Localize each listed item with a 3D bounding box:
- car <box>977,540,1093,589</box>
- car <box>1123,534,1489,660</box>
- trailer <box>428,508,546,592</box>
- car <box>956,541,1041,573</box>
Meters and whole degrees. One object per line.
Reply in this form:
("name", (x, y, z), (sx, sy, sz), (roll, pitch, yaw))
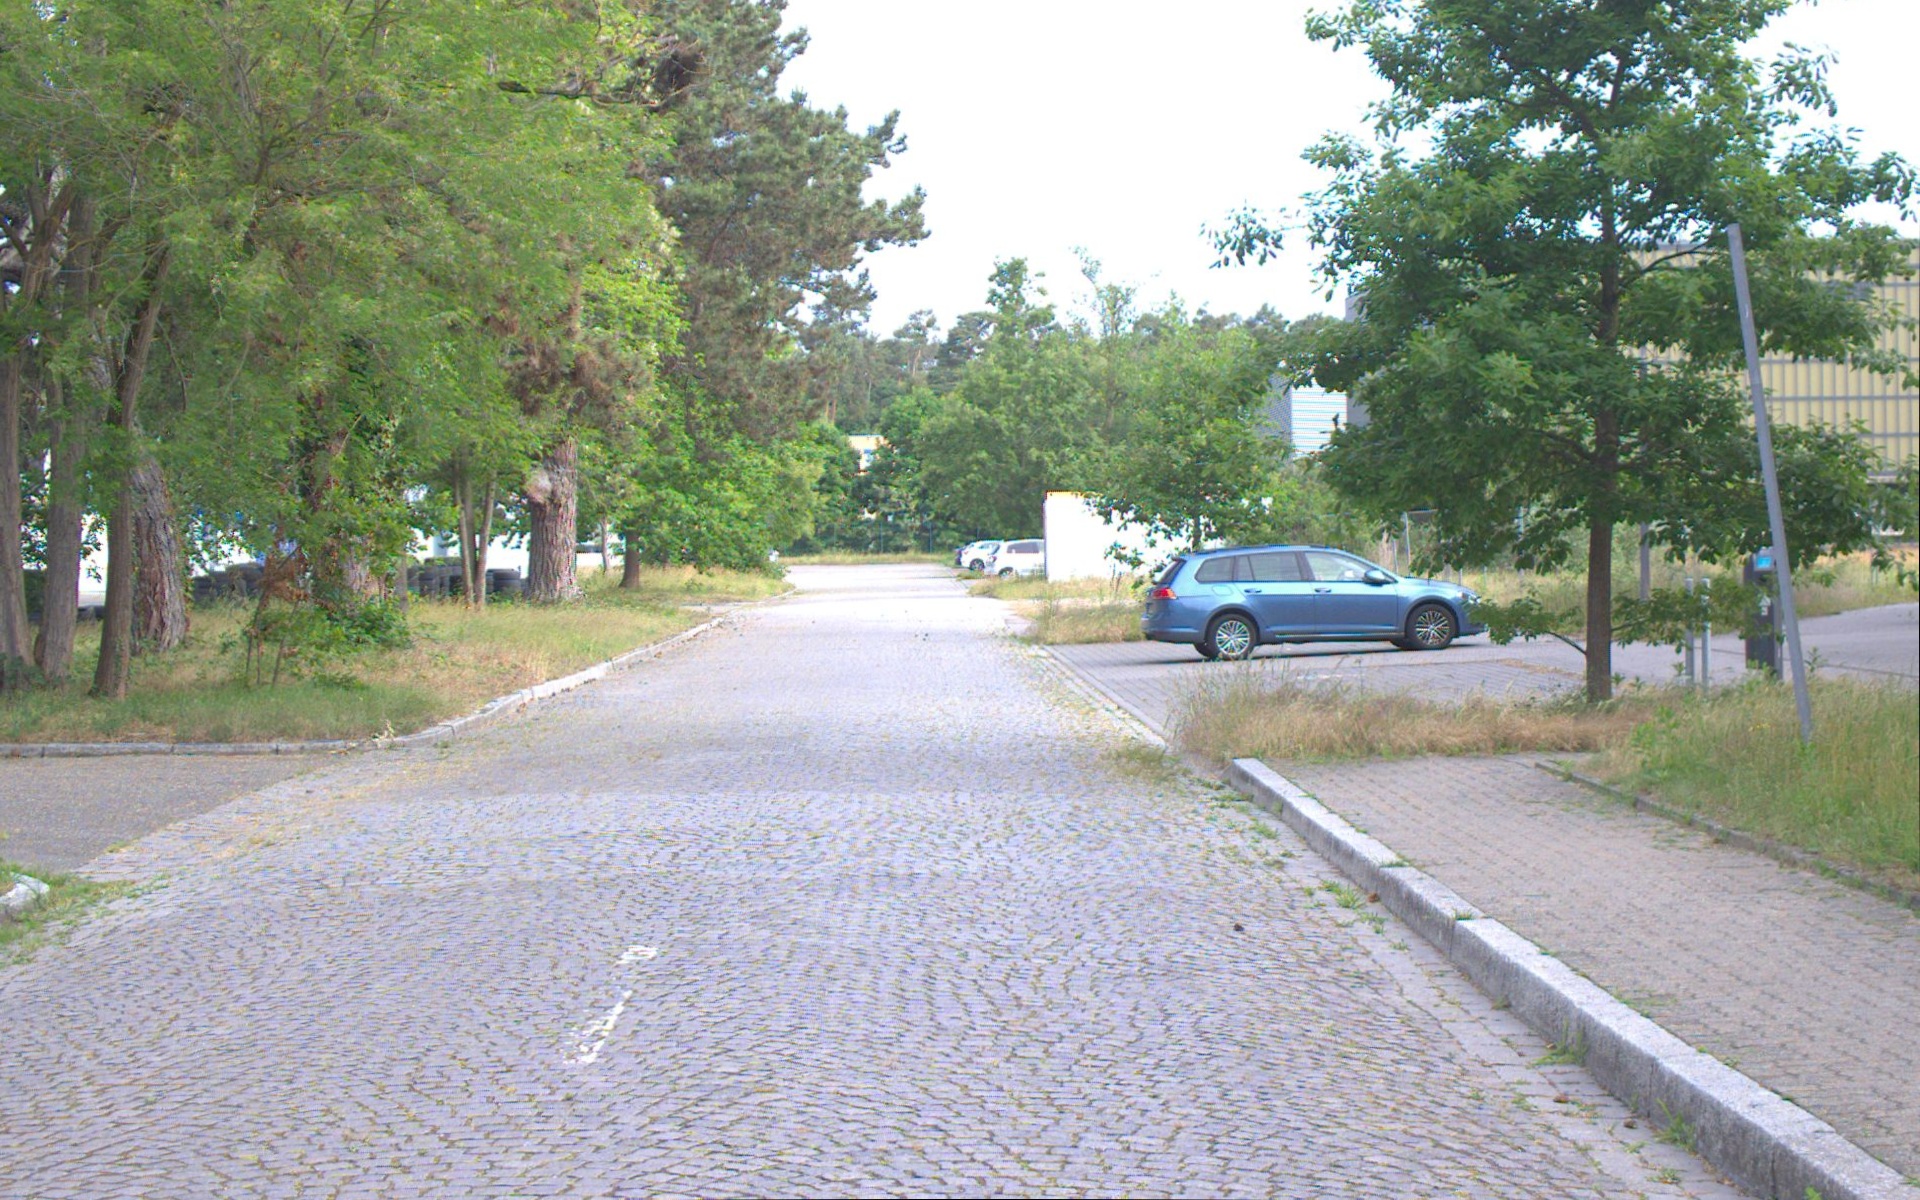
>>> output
("car", (2.589, -1.228, 119.159), (3.849, 1.649, 1.686), (-1, 1, -3))
("car", (4.553, -0.056, 45.631), (4.521, 1.438, 1.824), (-3, 1, -4))
("trailer", (-18.017, -1.929, 131.562), (3.158, 3.057, 8.784), (-1, 1, 1))
("car", (1.846, -2.072, 165.303), (4.025, 1.496, 1.548), (-1, 1, 0))
